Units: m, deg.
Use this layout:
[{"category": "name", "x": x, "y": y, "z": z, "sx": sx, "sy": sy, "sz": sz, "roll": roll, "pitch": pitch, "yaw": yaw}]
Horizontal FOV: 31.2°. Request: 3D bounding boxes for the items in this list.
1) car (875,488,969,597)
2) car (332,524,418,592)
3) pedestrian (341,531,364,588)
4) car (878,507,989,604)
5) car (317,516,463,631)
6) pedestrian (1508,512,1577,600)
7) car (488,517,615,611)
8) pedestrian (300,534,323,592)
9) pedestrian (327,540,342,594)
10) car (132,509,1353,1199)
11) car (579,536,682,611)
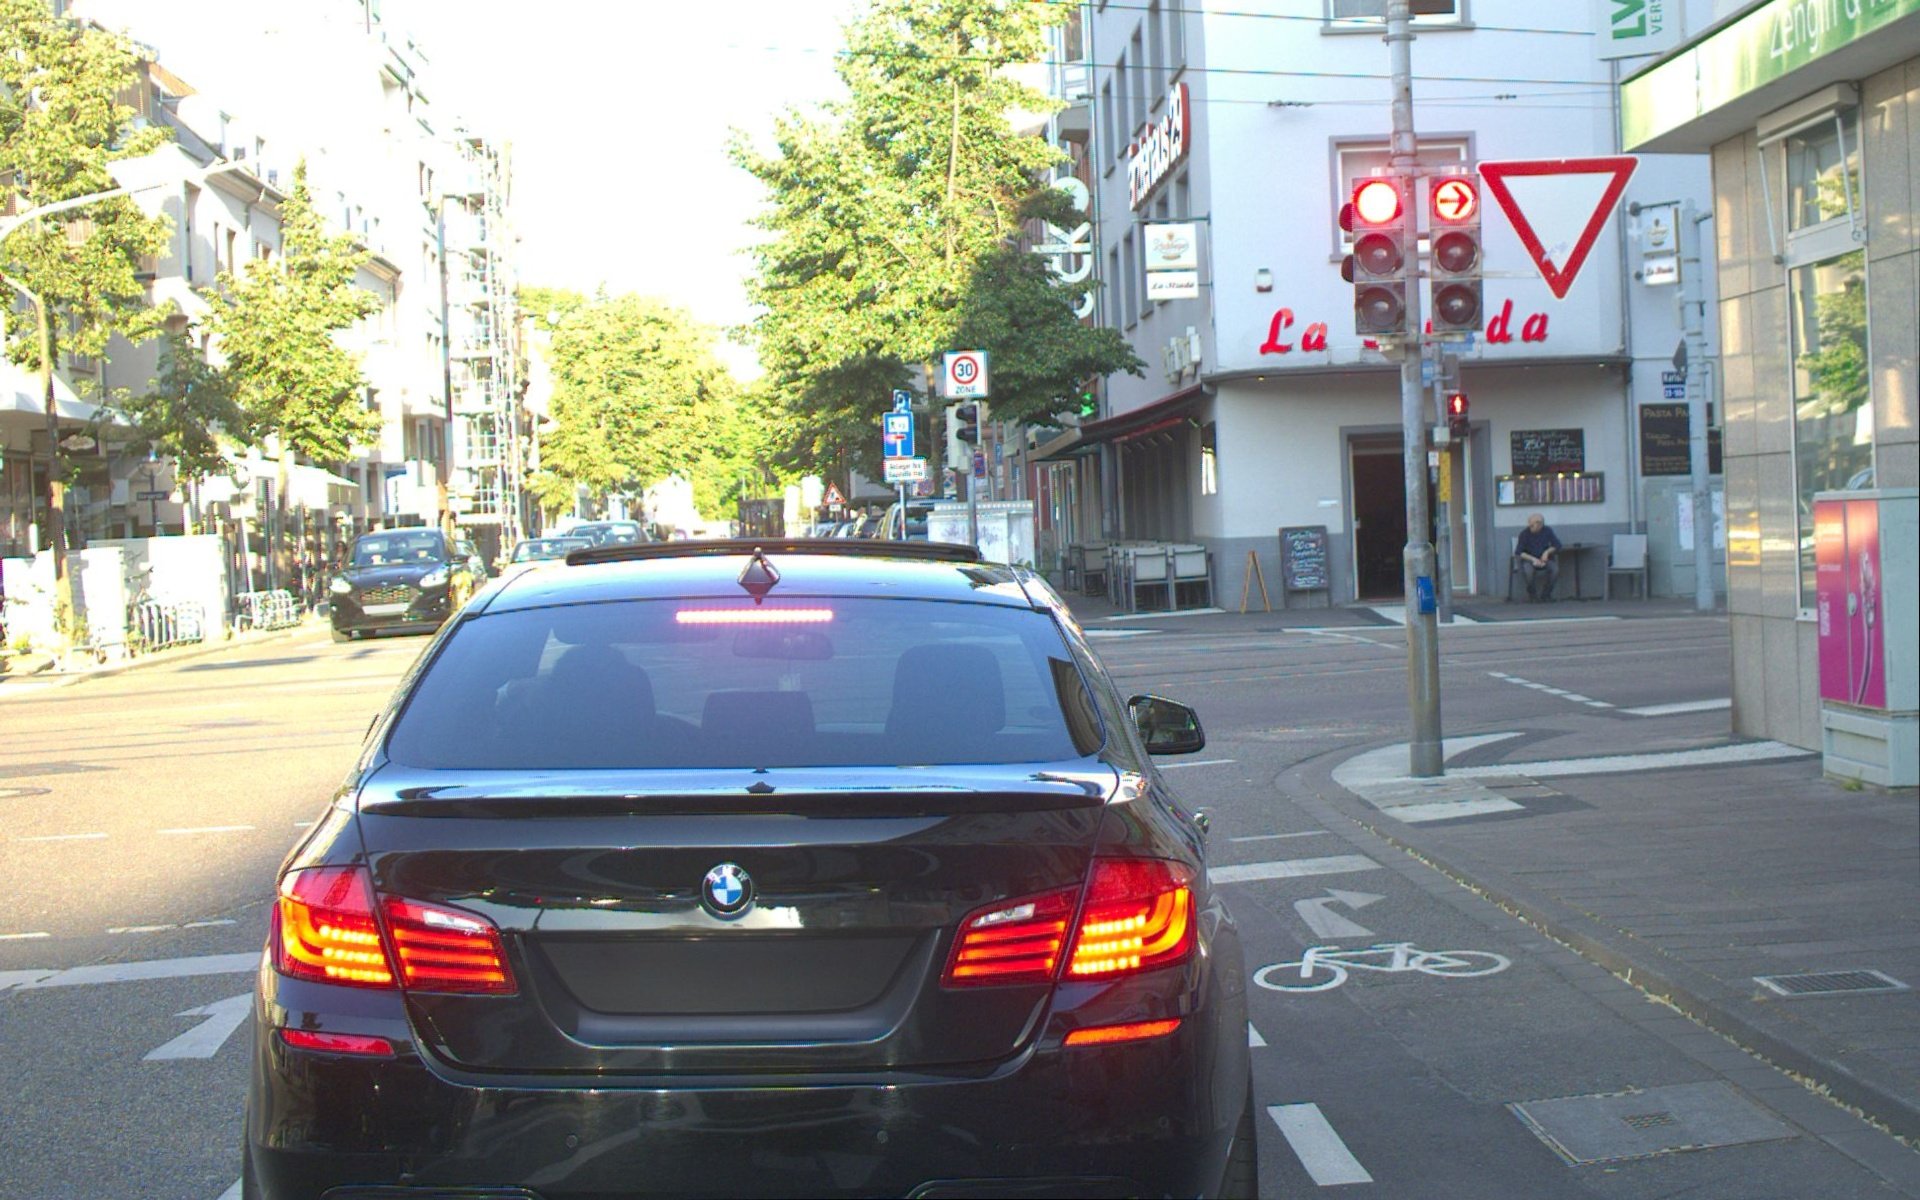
[{"category": "car", "x": -0.699, "y": -1.019, "z": 60.990, "sx": 1.421, "sy": 1.848, "sz": 3.053, "roll": -1, "pitch": 1, "yaw": -5}, {"category": "car", "x": -13.427, "y": -0.976, "z": 79.014, "sx": 1.733, "sy": 1.456, "sz": 4.001, "roll": -2, "pitch": 1, "yaw": -7}, {"category": "pedestrian", "x": -15.215, "y": -1.012, "z": 86.102, "sx": 0.444, "sy": 1.411, "sz": 0.525, "roll": -2, "pitch": 1, "yaw": -4}, {"category": "car", "x": -0.450, "y": -0.714, "z": 54.594, "sx": 1.625, "sy": 1.466, "sz": 3.395, "roll": -1, "pitch": 1, "yaw": -2}, {"category": "car", "x": -8.620, "y": -0.431, "z": 52.235, "sx": 1.993, "sy": 1.612, "sz": 4.001, "roll": -2, "pitch": 1, "yaw": -7}, {"category": "pedestrian", "x": 7.842, "y": -0.600, "z": 46.319, "sx": 0.697, "sy": 1.153, "sz": 0.844, "roll": -2, "pitch": 1, "yaw": -3}, {"category": "car", "x": -6.873, "y": -0.624, "z": 57.669, "sx": 1.993, "sy": 1.437, "sz": 4.001, "roll": -2, "pitch": 1, "yaw": -7}, {"category": "pedestrian", "x": -16.230, "y": -0.928, "z": 85.991, "sx": 0.444, "sy": 1.411, "sz": 0.525, "roll": -2, "pitch": 1, "yaw": -4}, {"category": "pedestrian", "x": -15.673, "y": -0.832, "z": 86.176, "sx": 0.306, "sy": 1.354, "sz": 0.285, "roll": -3, "pitch": 1, "yaw": -10}, {"category": "car", "x": -0.451, "y": 0.578, "z": 7.623, "sx": 1.903, "sy": 1.535, "sz": 4.450, "roll": 1, "pitch": 1, "yaw": -3}, {"category": "car", "x": -6.205, "y": -0.515, "z": 64.436, "sx": 1.733, "sy": 1.288, "sz": 4.001, "roll": -2, "pitch": 1, "yaw": -7}]
